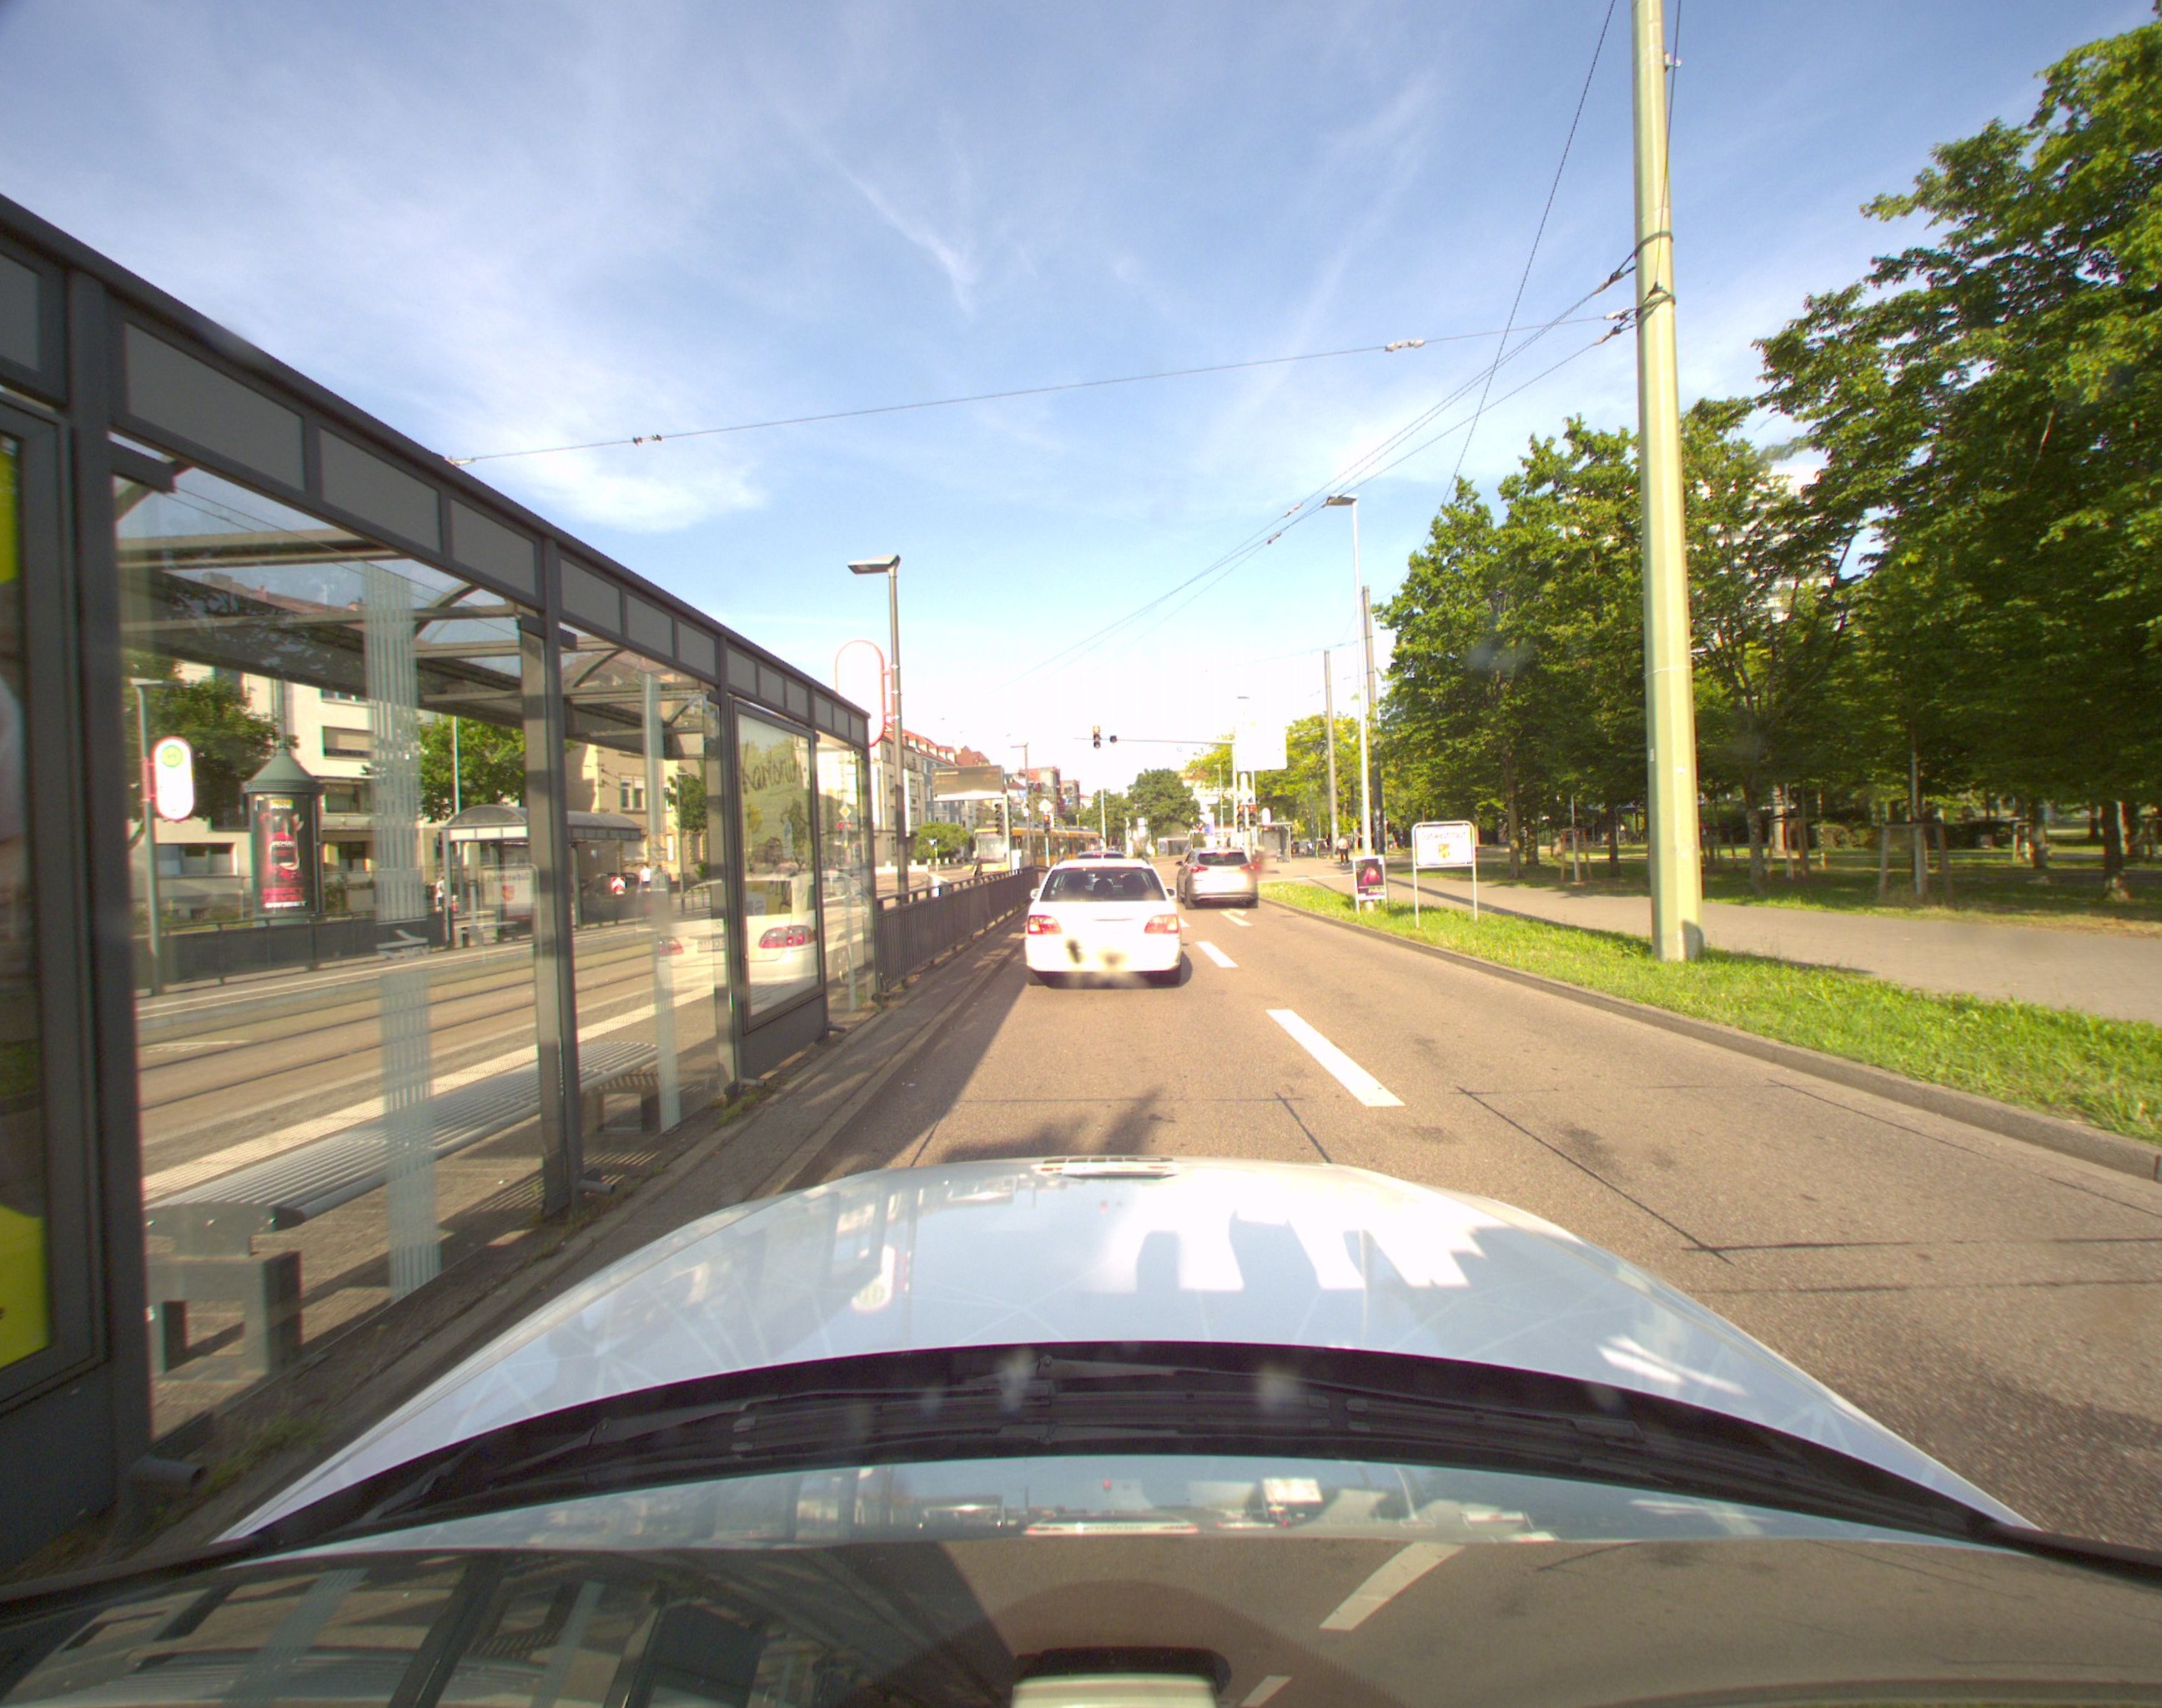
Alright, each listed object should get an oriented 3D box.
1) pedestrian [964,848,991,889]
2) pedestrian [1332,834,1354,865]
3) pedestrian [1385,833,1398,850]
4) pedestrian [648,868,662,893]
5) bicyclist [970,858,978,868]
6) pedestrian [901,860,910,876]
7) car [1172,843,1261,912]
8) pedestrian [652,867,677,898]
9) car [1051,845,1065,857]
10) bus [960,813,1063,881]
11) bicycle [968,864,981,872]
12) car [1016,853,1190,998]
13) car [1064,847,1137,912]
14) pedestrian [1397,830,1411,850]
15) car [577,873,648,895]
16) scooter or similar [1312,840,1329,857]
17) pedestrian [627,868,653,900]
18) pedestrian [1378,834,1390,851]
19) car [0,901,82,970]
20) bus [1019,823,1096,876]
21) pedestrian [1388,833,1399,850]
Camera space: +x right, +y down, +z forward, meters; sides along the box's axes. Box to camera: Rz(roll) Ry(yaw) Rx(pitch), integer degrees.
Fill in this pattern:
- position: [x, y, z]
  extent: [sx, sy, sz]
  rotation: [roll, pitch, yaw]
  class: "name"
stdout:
- position: [-4.340, 0.601, 34.095]
  extent: [0.798, 1.645, 0.748]
  rotation: [-2, 0, -42]
  class: "pedestrian"
- position: [14.420, -0.255, 44.823]
  extent: [0.758, 1.636, 0.800]
  rotation: [-2, 0, -38]
  class: "pedestrian"
- position: [28.281, -1.135, 74.278]
  extent: [0.813, 1.487, 0.698]
  rotation: [-3, 0, -9]
  class: "pedestrian"
- position: [-26.049, 1.594, 49.839]
  extent: [0.434, 1.501, 0.551]
  rotation: [-3, 0, 16]
  class: "pedestrian"
- position: [-11.069, 0.940, 84.512]
  extent: [0.508, 1.044, 0.683]
  rotation: [-3, 0, 22]
  class: "bicyclist"
- position: [-17.083, 1.353, 79.219]
  extent: [0.626, 1.541, 0.711]
  rotation: [-3, 0, 1]
  class: "pedestrian"
- position: [3.651, 0.594, 22.493]
  extent: [1.878, 1.651, 3.649]
  rotation: [-3, 0, 2]
  class: "car"
- position: [-21.626, 1.491, 42.282]
  extent: [0.822, 1.552, 0.786]
  rotation: [-3, 0, 23]
  class: "pedestrian"
- position: [-3.938, -0.428, 140.865]
  extent: [2.067, 2.014, 4.165]
  rotation: [0, -1, 2]
  class: "car"
- position: [-3.883, -0.327, 49.765]
  extent: [3.089, 3.606, 12.409]
  rotation: [0, -1, 10]
  class: "bus"
- position: [-11.019, 1.458, 84.576]
  extent: [0.521, 0.834, 1.696]
  rotation: [-3, 0, 24]
  class: "bicycle"
- position: [0.290, 0.742, 10.296]
  extent: [1.789, 1.470, 3.649]
  rotation: [-1, 0, 2]
  class: "car"
- position: [0.559, 0.651, 22.667]
  extent: [1.878, 1.651, 3.649]
  rotation: [0, 0, 2]
  class: "car"
- position: [29.298, -1.285, 73.901]
  extent: [0.797, 1.785, 0.838]
  rotation: [-2, 0, -3]
  class: "pedestrian"
- position: [-29.225, 1.834, 50.792]
  extent: [4.066, 1.310, 1.774]
  rotation: [-1, -1, 23]
  class: "car"
- position: [16.368, -0.358, 55.654]
  extent: [0.421, 1.117, 1.322]
  rotation: [-2, 0, -18]
  class: "scooter or similar"
- position: [-22.791, 1.549, 42.053]
  extent: [0.822, 1.552, 0.786]
  rotation: [-3, 0, 23]
  class: "pedestrian"
- position: [27.434, -1.057, 73.687]
  extent: [0.820, 1.487, 0.692]
  rotation: [-2, 0, -40]
  class: "pedestrian"
- position: [-26.112, 1.964, 19.358]
  extent: [3.952, 1.486, 1.858]
  rotation: [-3, 0, 22]
  class: "car"
- position: [-1.514, -0.251, 62.065]
  extent: [3.088, 3.606, 12.629]
  rotation: [0, -1, 11]
  class: "bus"
- position: [27.949, -1.118, 72.772]
  extent: [0.805, 1.487, 0.705]
  rotation: [-3, 0, 26]
  class: "pedestrian"
